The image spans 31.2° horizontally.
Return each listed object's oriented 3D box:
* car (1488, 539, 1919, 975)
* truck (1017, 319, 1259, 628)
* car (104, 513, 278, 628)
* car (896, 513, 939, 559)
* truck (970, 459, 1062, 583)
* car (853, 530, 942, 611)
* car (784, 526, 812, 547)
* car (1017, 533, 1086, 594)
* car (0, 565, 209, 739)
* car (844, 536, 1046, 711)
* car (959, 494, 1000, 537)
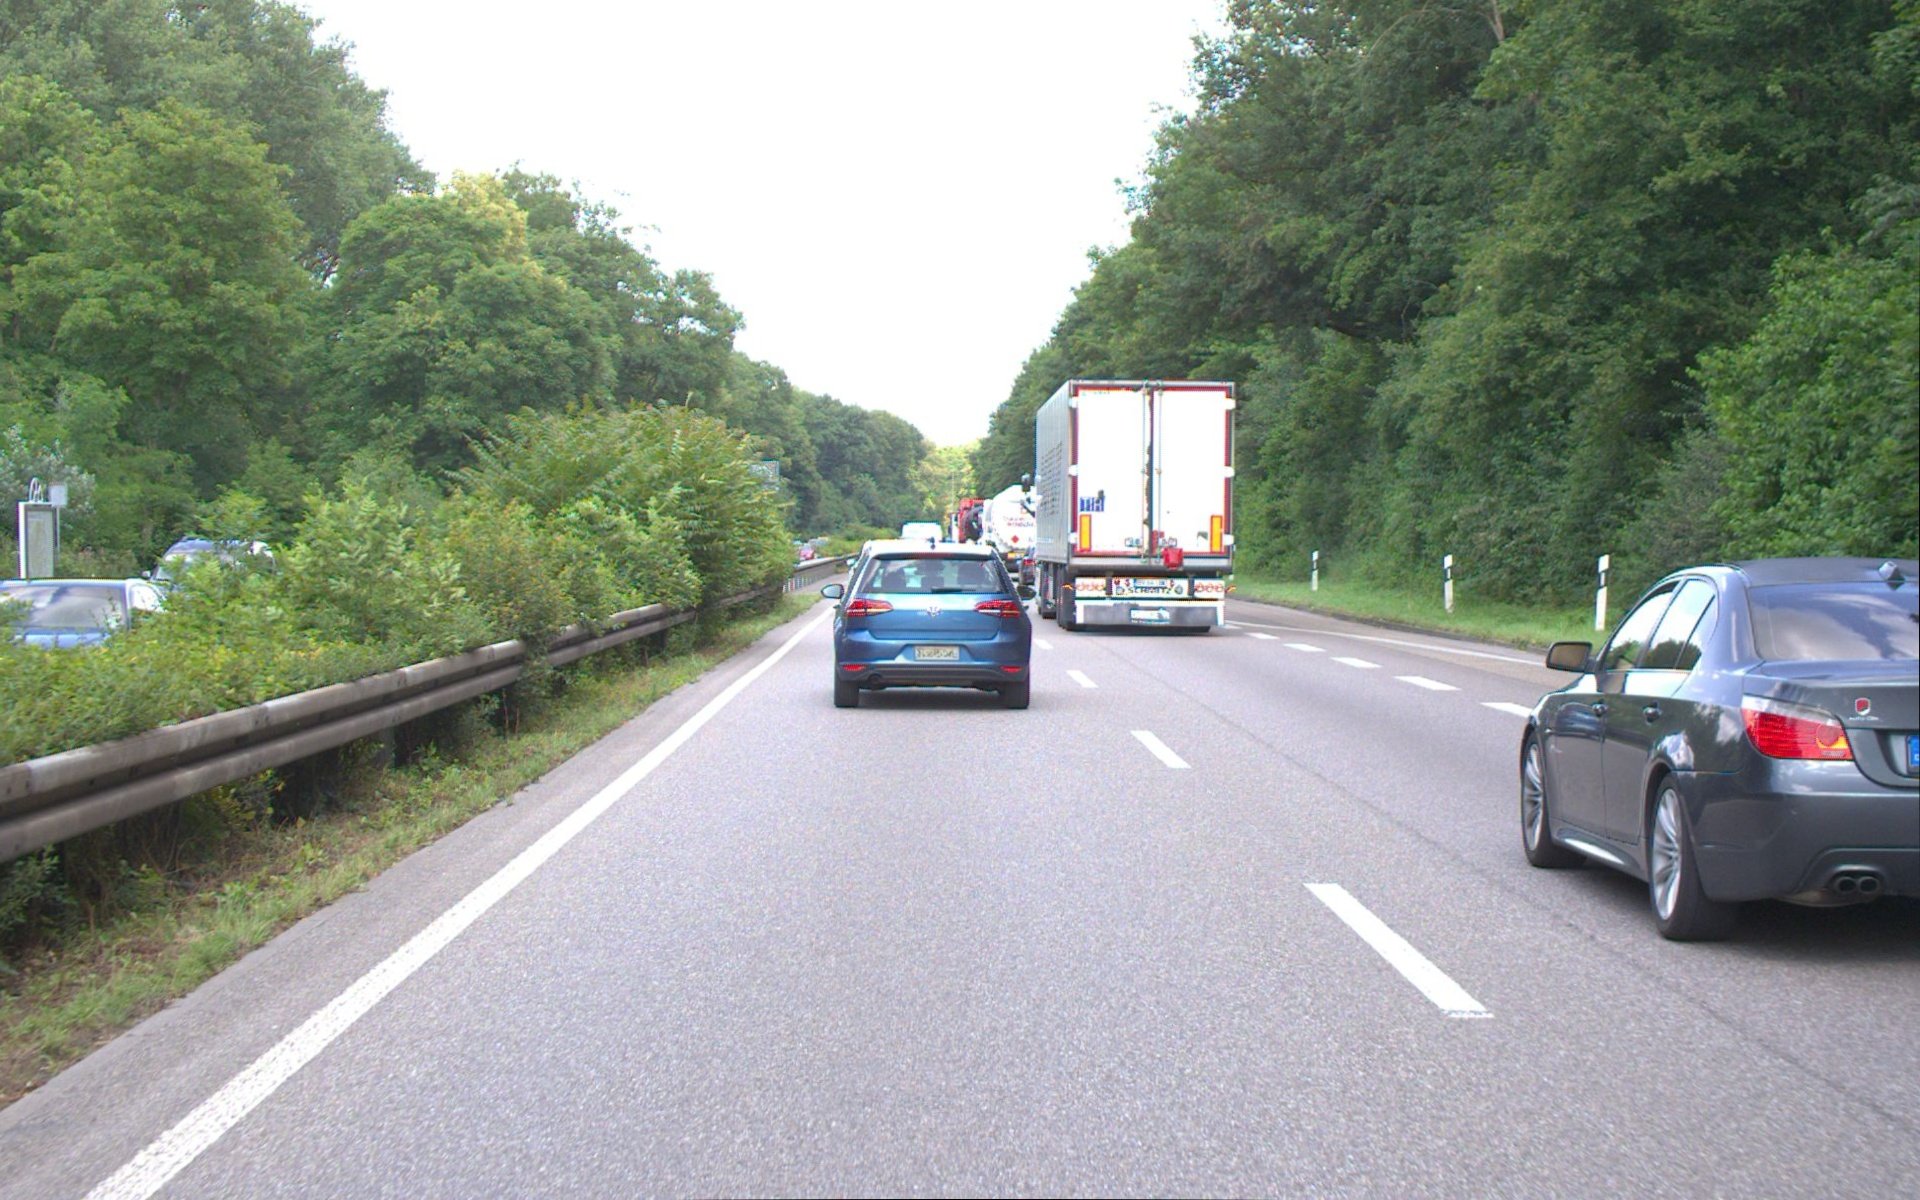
[{"bbox_3d":[3.493,0.502,14.211,1.774,1.470,4.881,1,1,-1],"label":"car"},{"bbox_3d":[2.823,-2.066,58.144,3.242,4.699,11.008,-1,1,-1],"label":"truck"},{"bbox_3d":[-12.900,-0.524,57.907,1.993,1.863,4.277,0,1,-1],"label":"car"},{"bbox_3d":[-2.168,-3.253,174.250,1.993,2.247,4.443,-1,1,-3],"label":"car"},{"bbox_3d":[2.090,-2.863,127.900,3.232,4.371,12.970,0,1,1],"label":"truck"},{"bbox_3d":[-1.190,-0.595,66.683,1.665,1.495,4.152,0,1,0],"label":"car"},{"bbox_3d":[-11.113,-4.345,235.656,1.678,1.449,4.128,0,1,0],"label":"car"},{"bbox_3d":[2.683,-1.092,101.253,1.888,1.723,4.000,-1,1,0],"label":"car"},{"bbox_3d":[-8.430,0.428,32.217,1.784,1.427,4.717,1,1,-1],"label":"car"},{"bbox_3d":[-0.171,0.161,31.373,1.705,1.465,4.000,1,1,-1],"label":"car"},{"bbox_3d":[1.050,-4.646,188.810,1.993,2.319,4.443,-1,1,-3],"label":"car"}]
